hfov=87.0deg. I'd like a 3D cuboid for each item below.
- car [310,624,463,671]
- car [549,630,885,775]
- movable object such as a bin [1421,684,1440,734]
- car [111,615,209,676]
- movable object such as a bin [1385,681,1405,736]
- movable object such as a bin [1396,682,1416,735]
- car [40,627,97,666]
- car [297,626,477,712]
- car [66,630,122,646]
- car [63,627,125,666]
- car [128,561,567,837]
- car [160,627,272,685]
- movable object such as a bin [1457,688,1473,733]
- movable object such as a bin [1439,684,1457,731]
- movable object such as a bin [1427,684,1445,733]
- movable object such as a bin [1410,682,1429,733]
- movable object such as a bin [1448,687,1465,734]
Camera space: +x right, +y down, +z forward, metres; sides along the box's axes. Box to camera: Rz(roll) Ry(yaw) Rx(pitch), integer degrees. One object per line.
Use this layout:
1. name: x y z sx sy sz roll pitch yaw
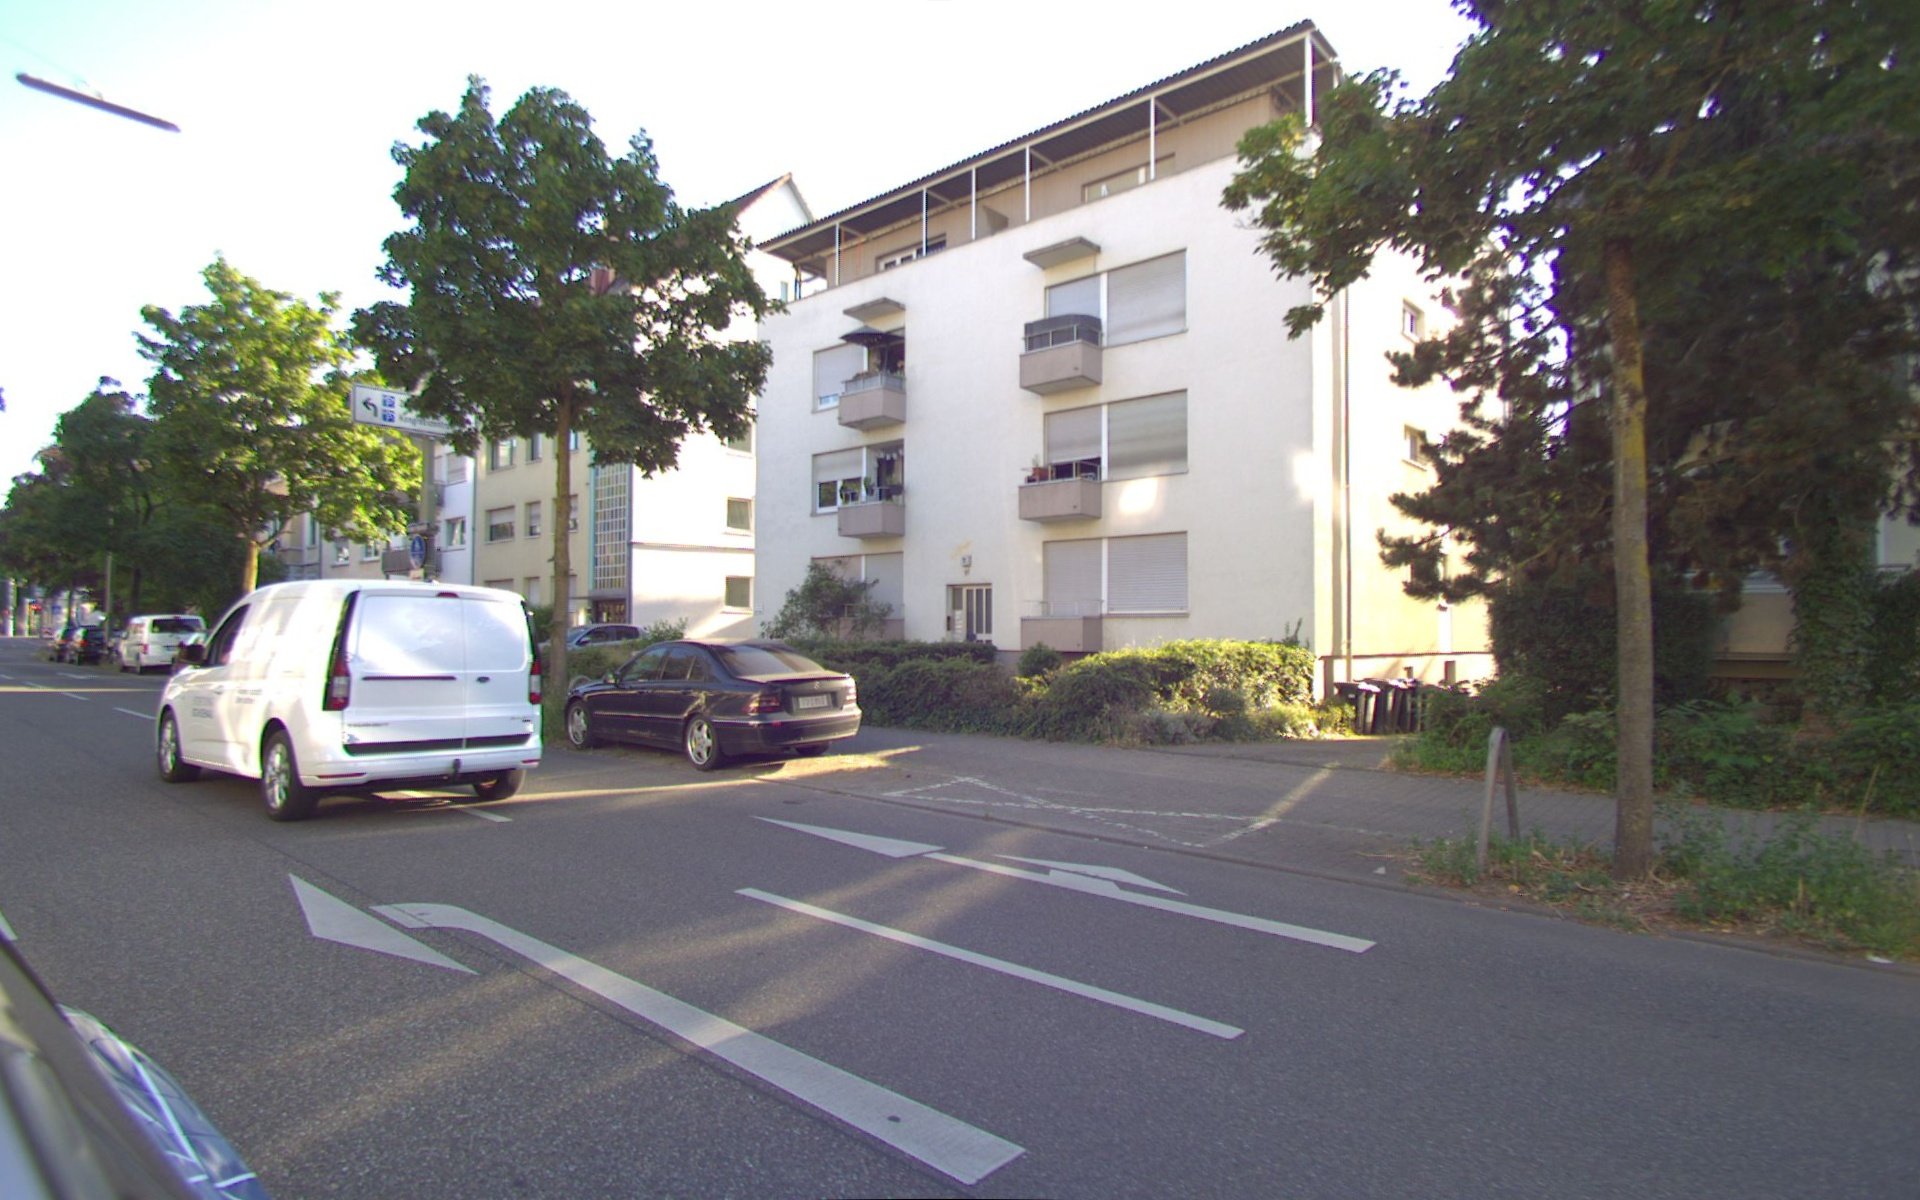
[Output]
1. car: -20.341 1.644 36.091 1.735 1.416 4.516 -1 0 31
2. car: -3.030 1.068 12.048 4.441 1.418 1.620 -1 -2 41
3. movable object such as a bin: 9.847 2.276 21.188 0.207 1.010 0.519 -2 -3 41
4. car: -25.621 1.407 32.374 4.190 1.823 1.717 -1 -2 41
5. movable object such as a bin: 8.295 2.055 19.297 0.207 1.010 0.519 -2 -3 41
6. movable object such as a bin: 8.823 2.140 20.020 0.207 1.010 0.519 -2 -3 41
7. car: -37.325 1.902 42.335 3.682 1.475 1.388 -1 0 42
8. car: -11.240 1.270 19.740 3.998 1.497 1.838 -1 -3 41
9. car: -89.912 3.908 105.147 3.934 1.597 2.005 0 -2 -12
10. car: -34.036 1.796 39.753 3.682 1.416 1.388 -1 0 42
11. car: -5.489 0.734 8.837 4.427 1.817 1.869 -1 -4 40
12. car: -20.494 1.487 27.830 3.634 1.475 1.717 -1 -2 41
13. movable object such as a bin: 11.564 2.525 23.177 0.207 1.010 0.519 -2 -3 41
14. movable object such as a bin: 10.701 2.348 22.198 0.207 1.010 0.519 -2 -3 41
15. movable object such as a bin: 10.209 2.314 21.684 0.207 1.010 0.519 -2 -3 41
16. movable object such as a bin: 9.383 2.184 20.670 0.207 1.010 0.519 -2 -3 41
17. movable object such as a bin: 11.089 2.472 22.619 0.207 1.010 0.519 -2 -3 41
